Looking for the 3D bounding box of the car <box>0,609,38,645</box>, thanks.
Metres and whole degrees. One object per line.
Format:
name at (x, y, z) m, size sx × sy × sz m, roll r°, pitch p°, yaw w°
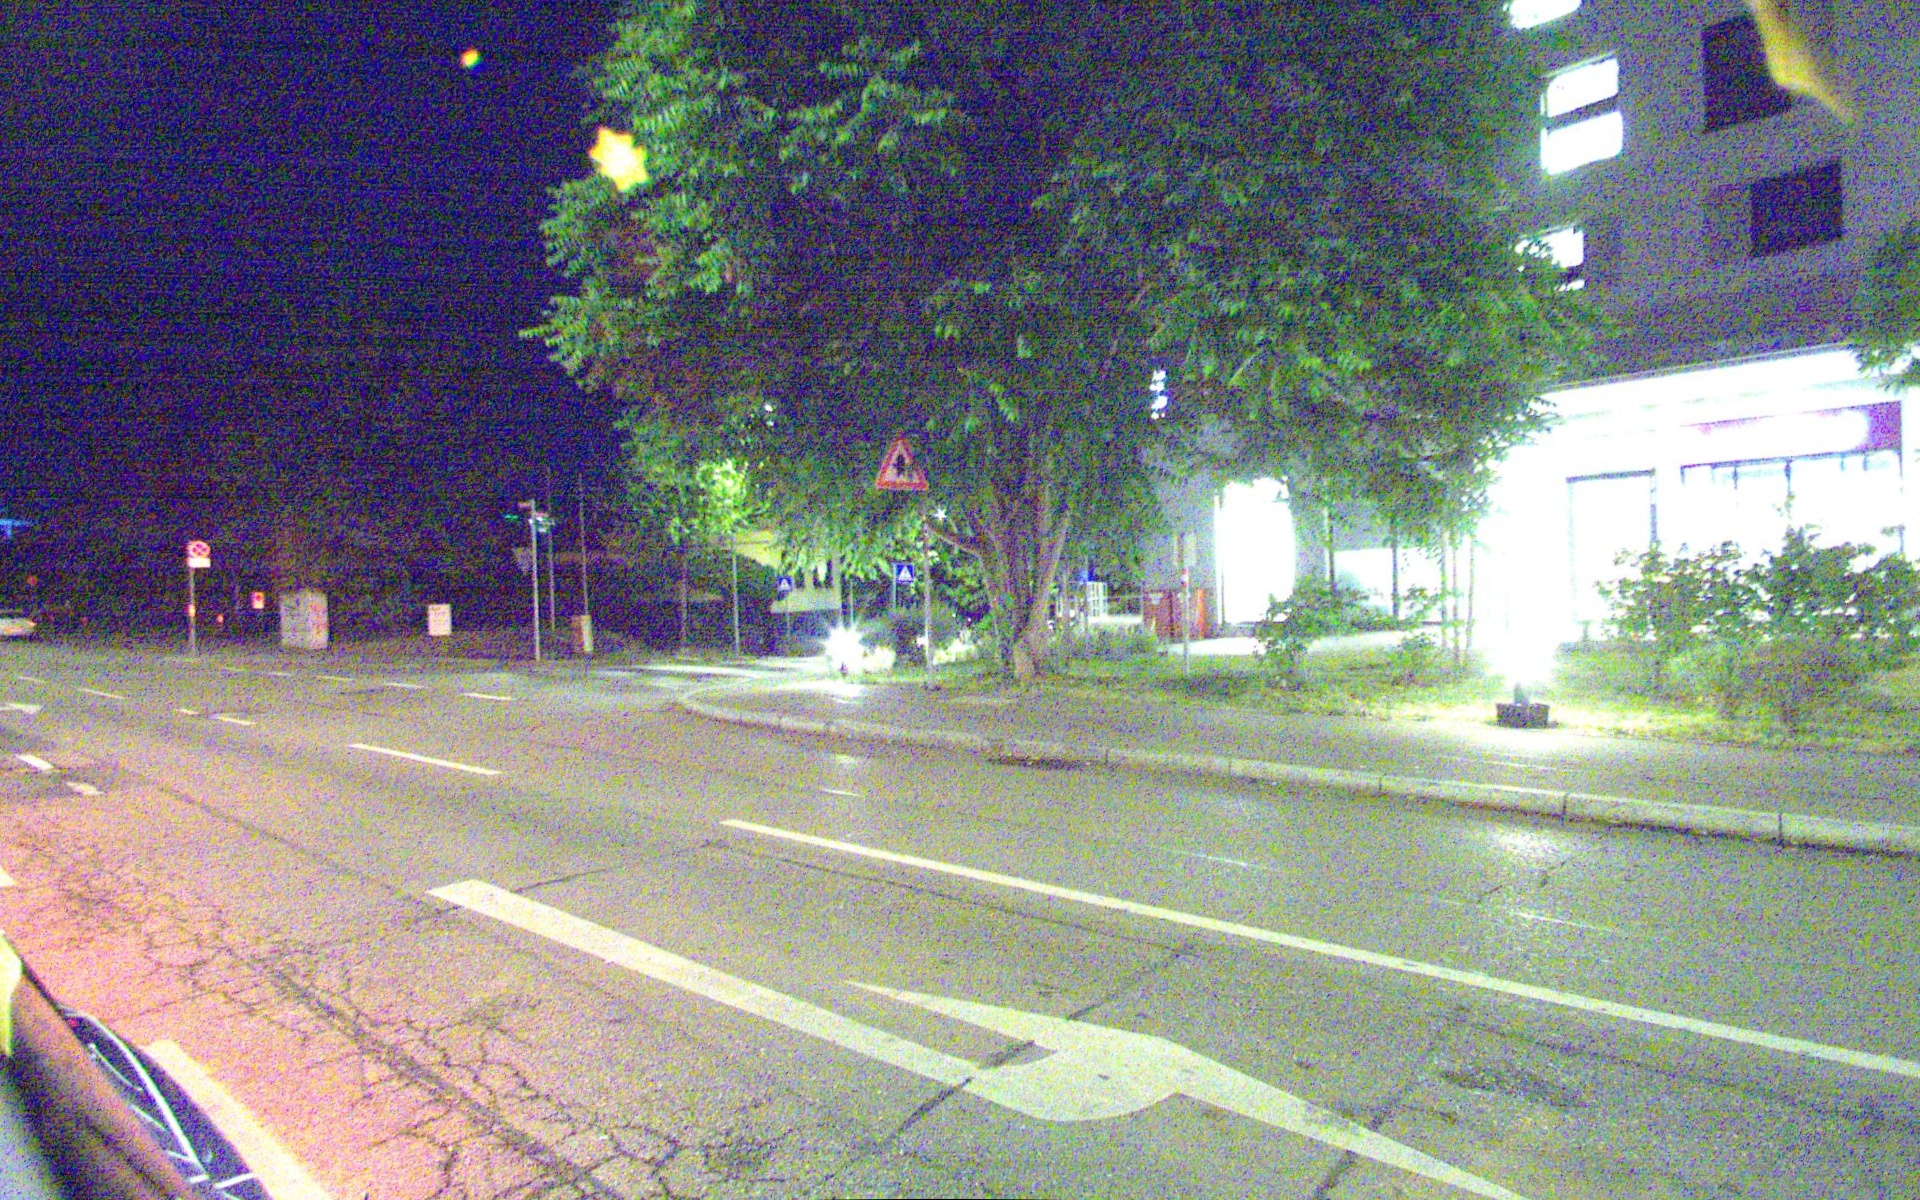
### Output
car at (-43.278, 1.188, 45.794) m, size 3.998 × 1.464 × 1.887 m, roll 1°, pitch 2°, yaw 41°
